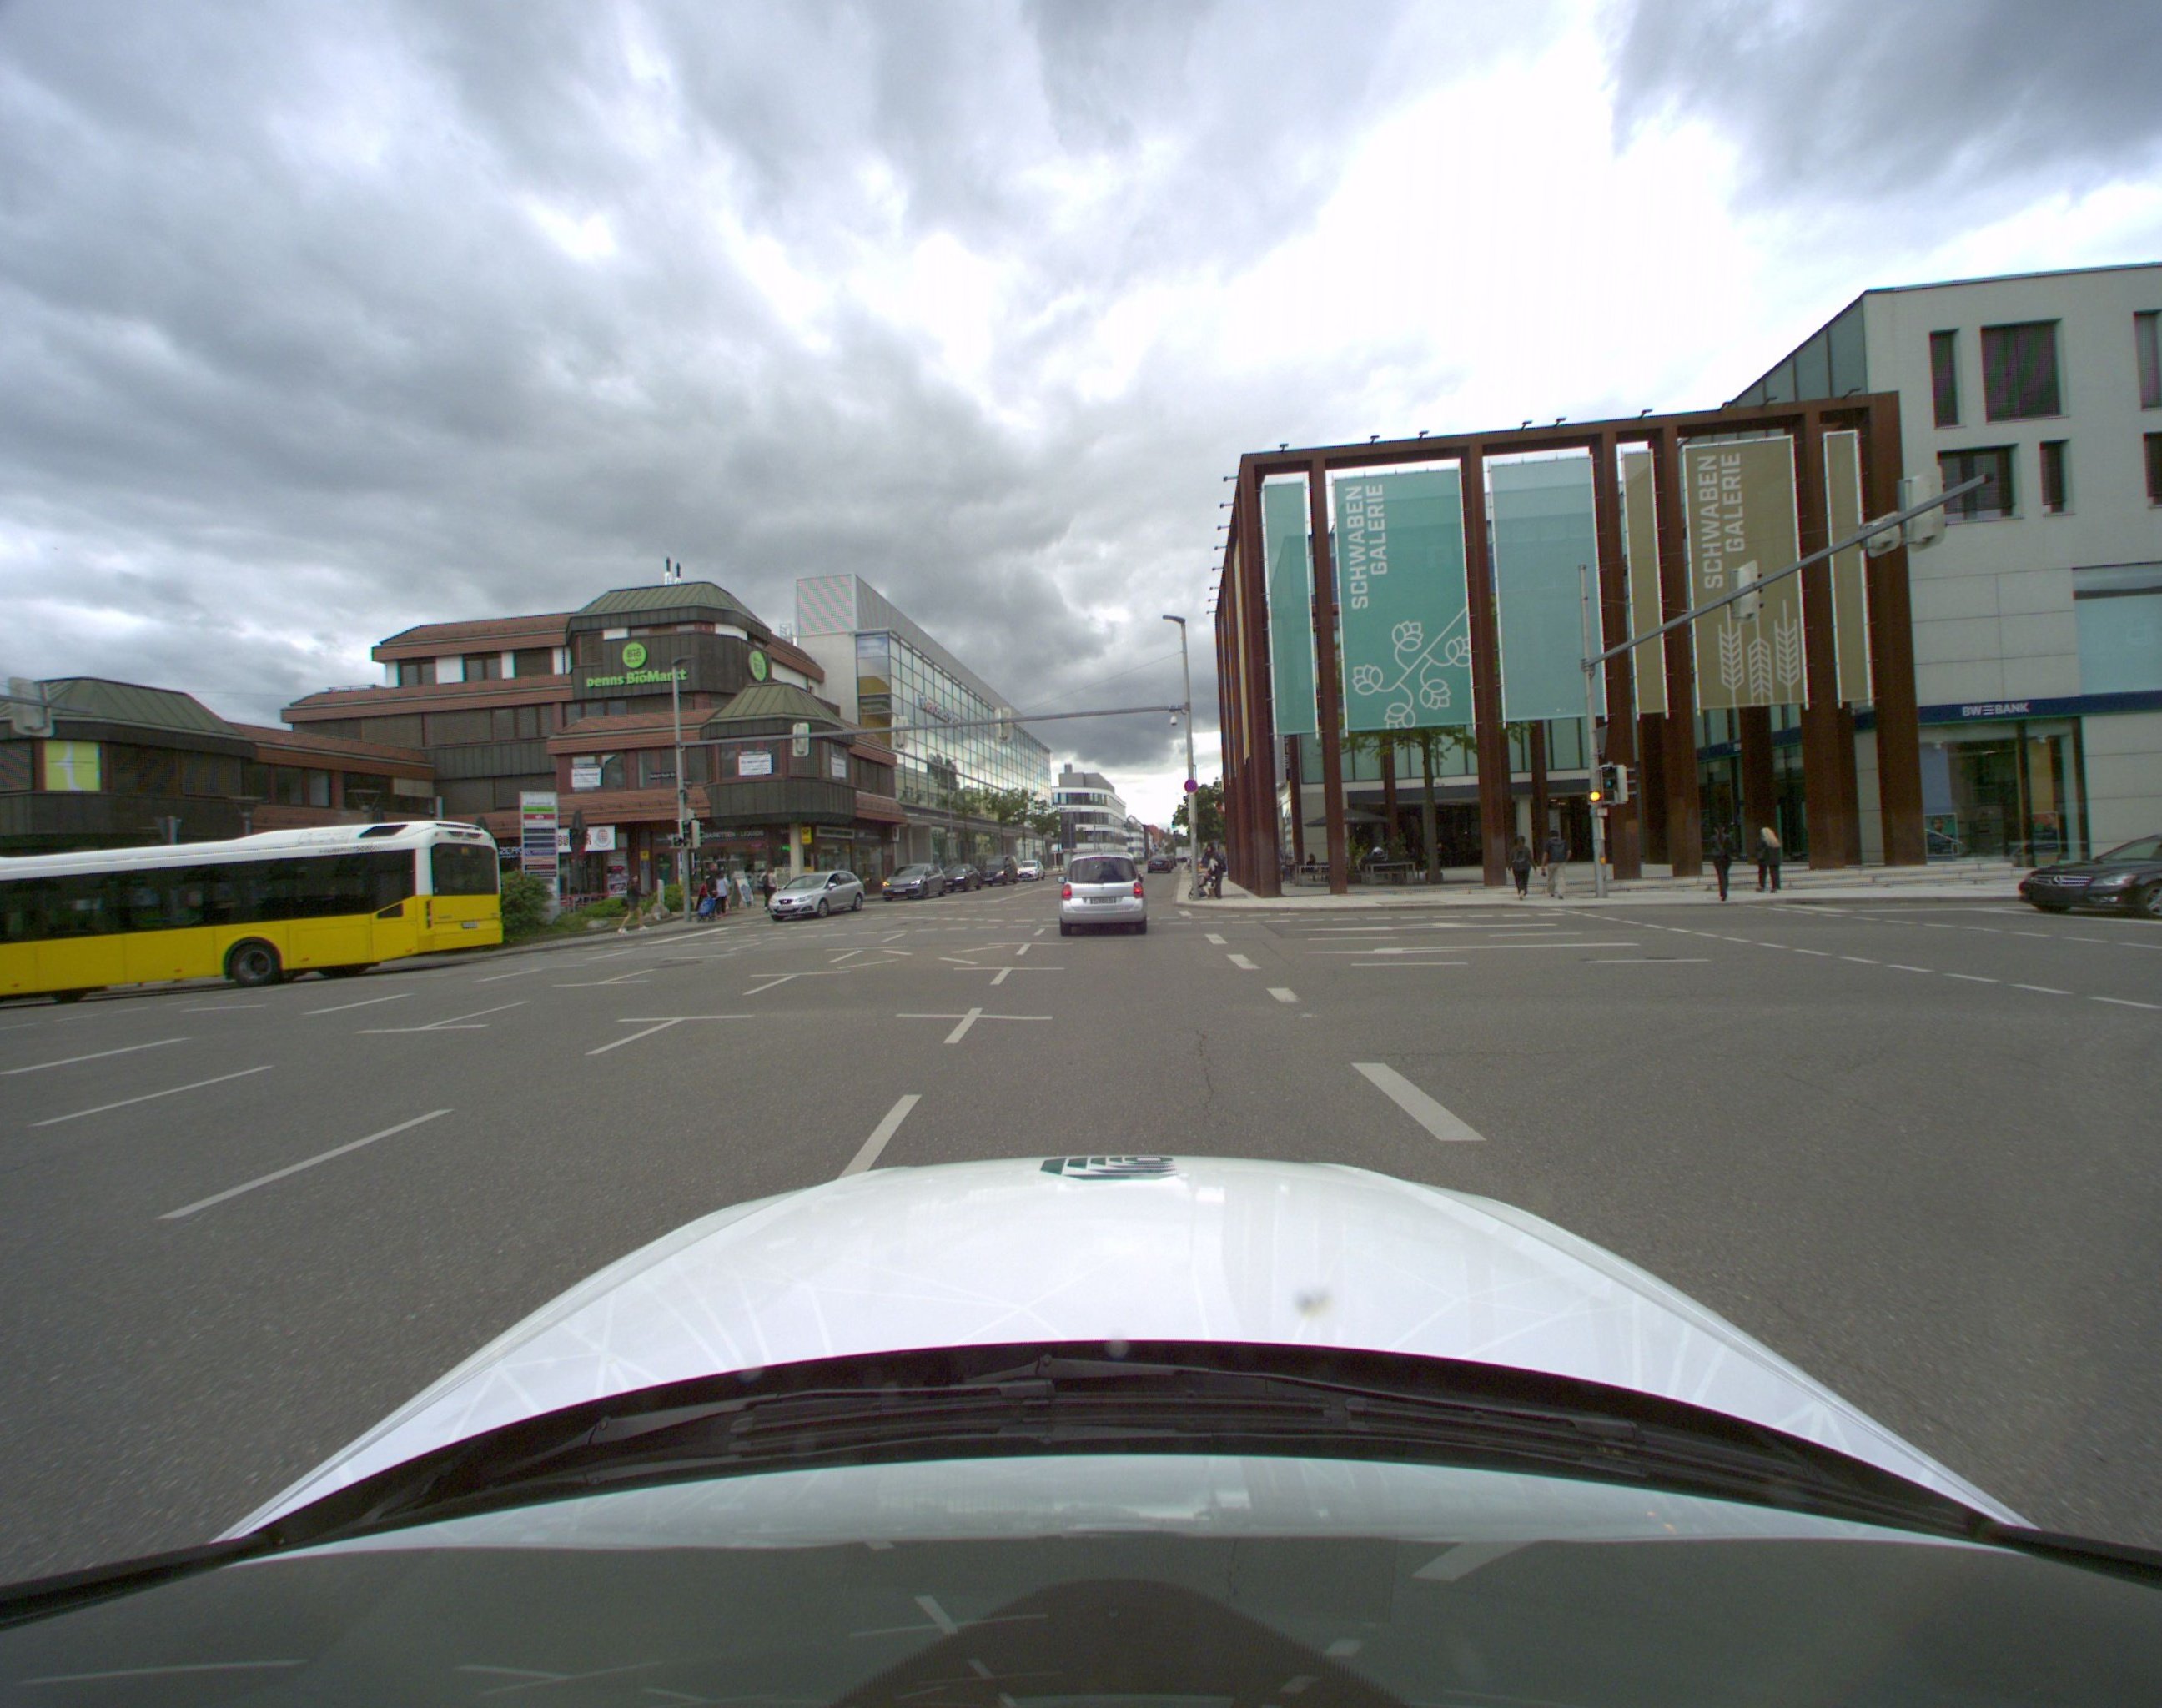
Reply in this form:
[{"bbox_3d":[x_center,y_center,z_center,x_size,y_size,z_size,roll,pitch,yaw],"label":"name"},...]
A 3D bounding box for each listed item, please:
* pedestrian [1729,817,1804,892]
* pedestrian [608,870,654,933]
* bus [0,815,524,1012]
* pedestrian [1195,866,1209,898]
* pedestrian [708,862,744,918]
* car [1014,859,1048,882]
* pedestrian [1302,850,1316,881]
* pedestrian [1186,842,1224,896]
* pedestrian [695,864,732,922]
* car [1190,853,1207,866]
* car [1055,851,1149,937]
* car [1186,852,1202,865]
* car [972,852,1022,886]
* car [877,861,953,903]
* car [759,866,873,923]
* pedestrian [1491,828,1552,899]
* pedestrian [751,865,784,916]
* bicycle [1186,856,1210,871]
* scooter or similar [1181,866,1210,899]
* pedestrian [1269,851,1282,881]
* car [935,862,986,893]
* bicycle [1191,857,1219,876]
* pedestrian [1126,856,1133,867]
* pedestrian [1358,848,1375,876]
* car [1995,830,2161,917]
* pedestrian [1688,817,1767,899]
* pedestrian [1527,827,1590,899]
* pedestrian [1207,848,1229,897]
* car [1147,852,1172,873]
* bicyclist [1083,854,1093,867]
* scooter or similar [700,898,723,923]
[{"bbox_3d":[16.912,0.012,20.130,0.874,1.767,1.122,-3,0,4],"label":"pedestrian"},{"bbox_3d":[-13.007,1.364,23.554,0.693,1.713,0.817,-2,2,26],"label":"pedestrian"},{"bbox_3d":[-19.992,1.374,18.239,12.247,3.327,2.992,-5,-1,-5],"label":"bus"},{"bbox_3d":[3.640,0.842,24.434,0.359,0.924,0.456,-2,0,9],"label":"pedestrian"},{"bbox_3d":[-11.777,1.171,27.008,0.808,1.808,0.775,-2,0,-1],"label":"pedestrian"},{"bbox_3d":[-3.567,1.172,59.121,1.651,1.465,4.009,-4,0,7],"label":"car"},{"bbox_3d":[9.203,0.466,32.832,0.445,1.220,0.608,-2,0,11],"label":"pedestrian"},{"bbox_3d":[3.876,0.458,25.498,0.861,1.646,0.684,-2,0,41],"label":"pedestrian"},{"bbox_3d":[-11.825,1.230,26.215,0.808,1.808,0.746,-2,0,-1],"label":"pedestrian"},{"bbox_3d":[13.049,0.599,90.723,1.867,1.335,4.009,-1,0,8],"label":"car"},{"bbox_3d":[0.526,0.725,16.651,1.662,1.554,3.647,-1,0,5],"label":"car"},{"bbox_3d":[13.524,0.528,97.184,1.867,1.508,4.009,-1,0,8],"label":"car"},{"bbox_3d":[-5.195,0.887,51.109,1.855,1.909,5.125,-4,0,8],"label":"car"},{"bbox_3d":[-7.170,1.193,35.659,1.748,1.517,4.398,-4,0,9],"label":"car"},{"bbox_3d":[-8.474,1.246,26.451,1.625,1.418,4.211,-4,1,10],"label":"car"},{"bbox_3d":[10.876,0.227,20.145,0.874,1.681,1.122,-3,0,4],"label":"pedestrian"},{"bbox_3d":[-10.741,1.246,27.900,0.745,1.693,0.778,-3,0,2],"label":"pedestrian"},{"bbox_3d":[9.551,0.785,66.595,1.816,1.074,0.753,-4,-1,5],"label":"bicycle"},{"bbox_3d":[3.515,0.867,24.967,0.627,0.961,0.624,-3,-1,41],"label":"scooter or similar"},{"bbox_3d":[7.903,0.483,33.060,0.445,1.220,0.608,-2,0,10],"label":"pedestrian"},{"bbox_3d":[-6.284,1.213,42.798,1.694,1.443,4.006,-2,0,5],"label":"car"},{"bbox_3d":[7.123,0.713,46.739,1.551,0.992,0.754,-3,0,10],"label":"bicycle"},{"bbox_3d":[8.657,1.296,144.709,0.955,1.833,1.253,-3,0,7],"label":"pedestrian"},{"bbox_3d":[12.854,0.358,36.717,0.512,1.208,0.797,-3,1,5],"label":"pedestrian"},{"bbox_3d":[19.206,0.275,14.270,4.153,1.404,1.803,-2,0,4],"label":"car"},{"bbox_3d":[14.717,0.094,18.580,0.874,1.767,1.122,-3,0,4],"label":"pedestrian"},{"bbox_3d":[11.803,0.217,20.176,0.874,1.681,1.122,-3,0,4],"label":"pedestrian"},{"bbox_3d":[4.100,0.555,24.353,0.597,1.420,0.584,-2,0,9],"label":"pedestrian"},{"bbox_3d":[6.192,0.642,63.946,1.660,1.554,3.651,-1,0,9],"label":"car"},{"bbox_3d":[0.888,0.808,106.956,1.010,1.660,0.926,0,-1,-21],"label":"bicyclist"},{"bbox_3d":[-11.591,1.754,25.555,0.452,0.727,0.538,-2,0,-1],"label":"scooter or similar"}]
